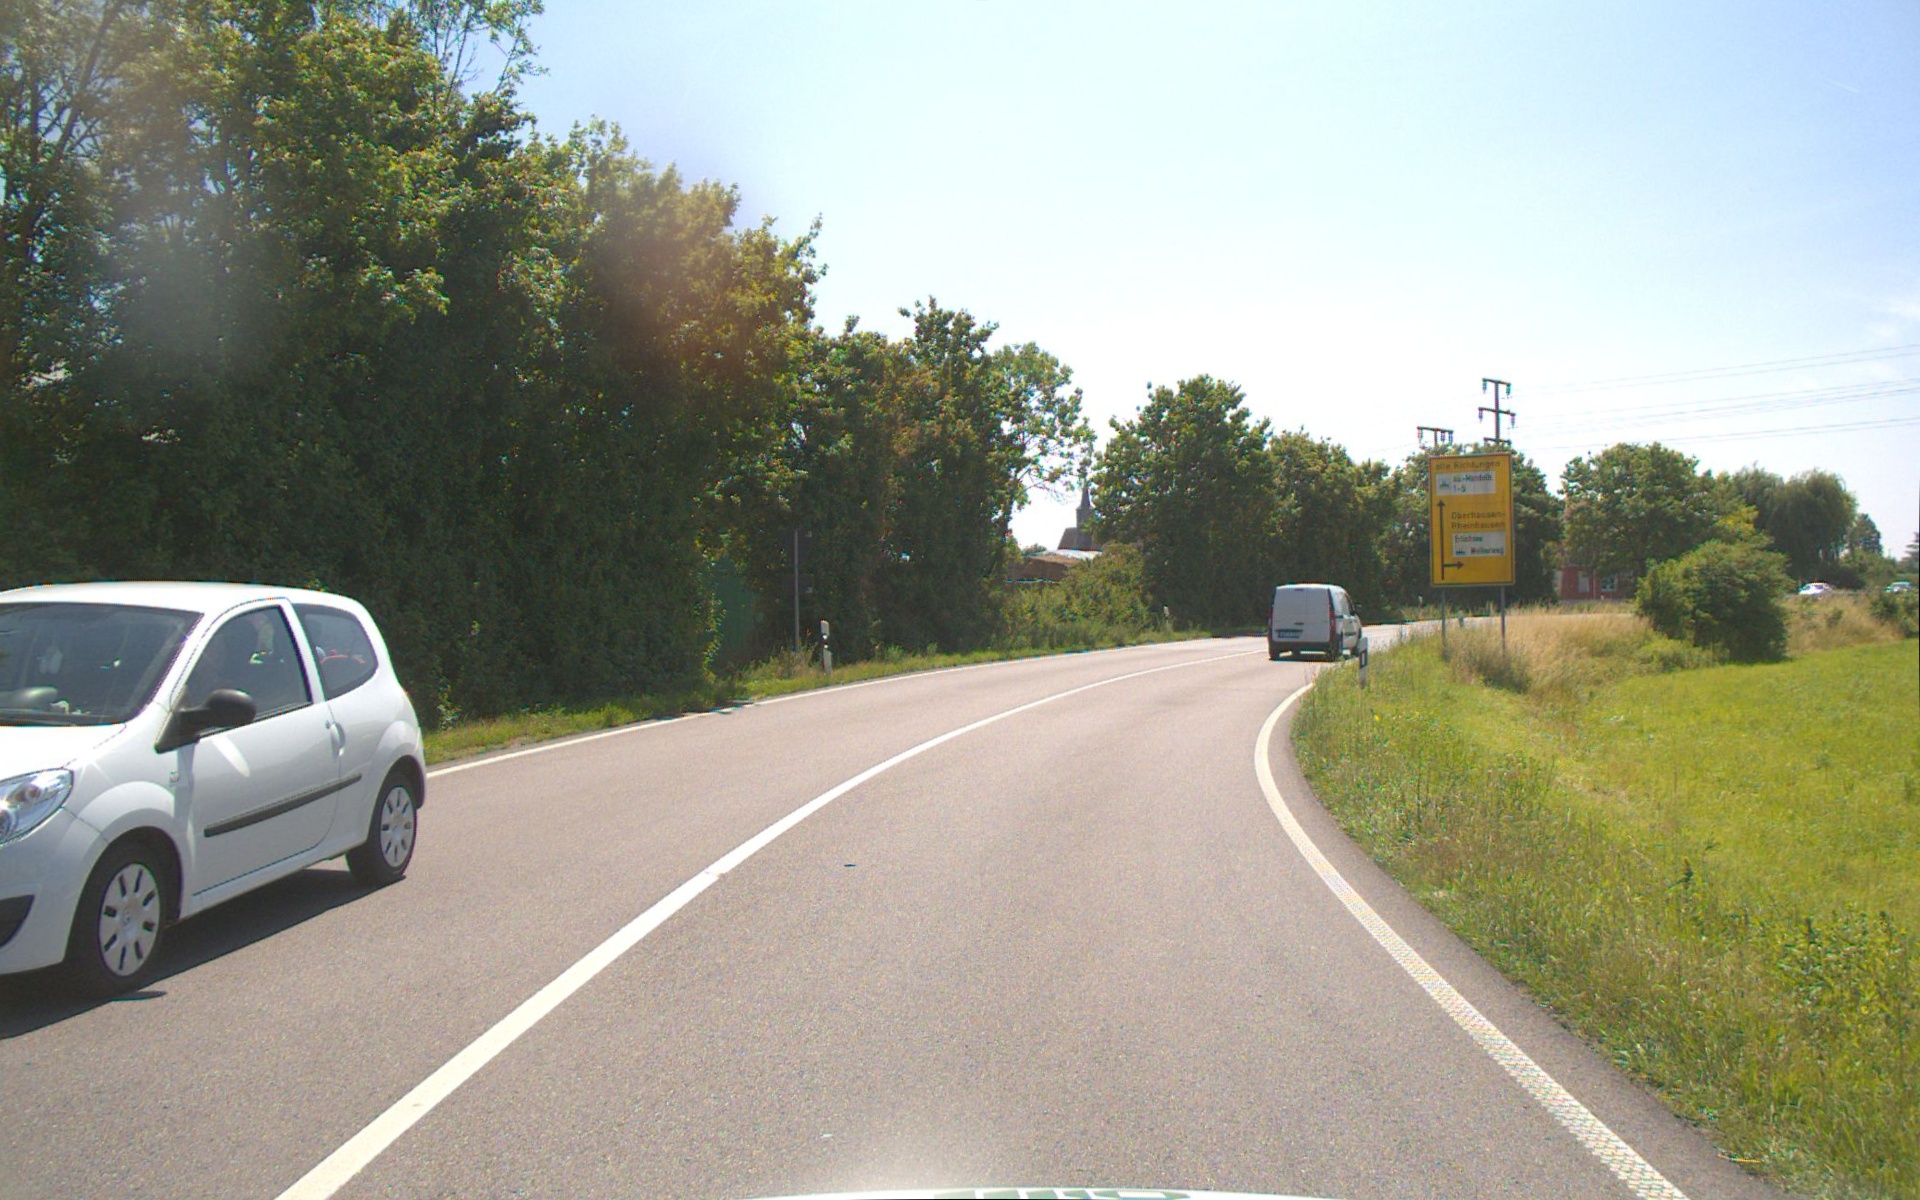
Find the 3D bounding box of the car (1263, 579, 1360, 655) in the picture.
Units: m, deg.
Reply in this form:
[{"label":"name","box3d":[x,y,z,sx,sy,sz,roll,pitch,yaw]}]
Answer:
[{"label":"car","box3d":[8.744,0.423,40.918,1.864,1.763,3.823,-2,-1,19]}]

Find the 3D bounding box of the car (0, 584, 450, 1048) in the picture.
[{"label":"car","box3d":[-3.596,0.670,7.091,1.504,1.468,3.609,1,0,3]}]
